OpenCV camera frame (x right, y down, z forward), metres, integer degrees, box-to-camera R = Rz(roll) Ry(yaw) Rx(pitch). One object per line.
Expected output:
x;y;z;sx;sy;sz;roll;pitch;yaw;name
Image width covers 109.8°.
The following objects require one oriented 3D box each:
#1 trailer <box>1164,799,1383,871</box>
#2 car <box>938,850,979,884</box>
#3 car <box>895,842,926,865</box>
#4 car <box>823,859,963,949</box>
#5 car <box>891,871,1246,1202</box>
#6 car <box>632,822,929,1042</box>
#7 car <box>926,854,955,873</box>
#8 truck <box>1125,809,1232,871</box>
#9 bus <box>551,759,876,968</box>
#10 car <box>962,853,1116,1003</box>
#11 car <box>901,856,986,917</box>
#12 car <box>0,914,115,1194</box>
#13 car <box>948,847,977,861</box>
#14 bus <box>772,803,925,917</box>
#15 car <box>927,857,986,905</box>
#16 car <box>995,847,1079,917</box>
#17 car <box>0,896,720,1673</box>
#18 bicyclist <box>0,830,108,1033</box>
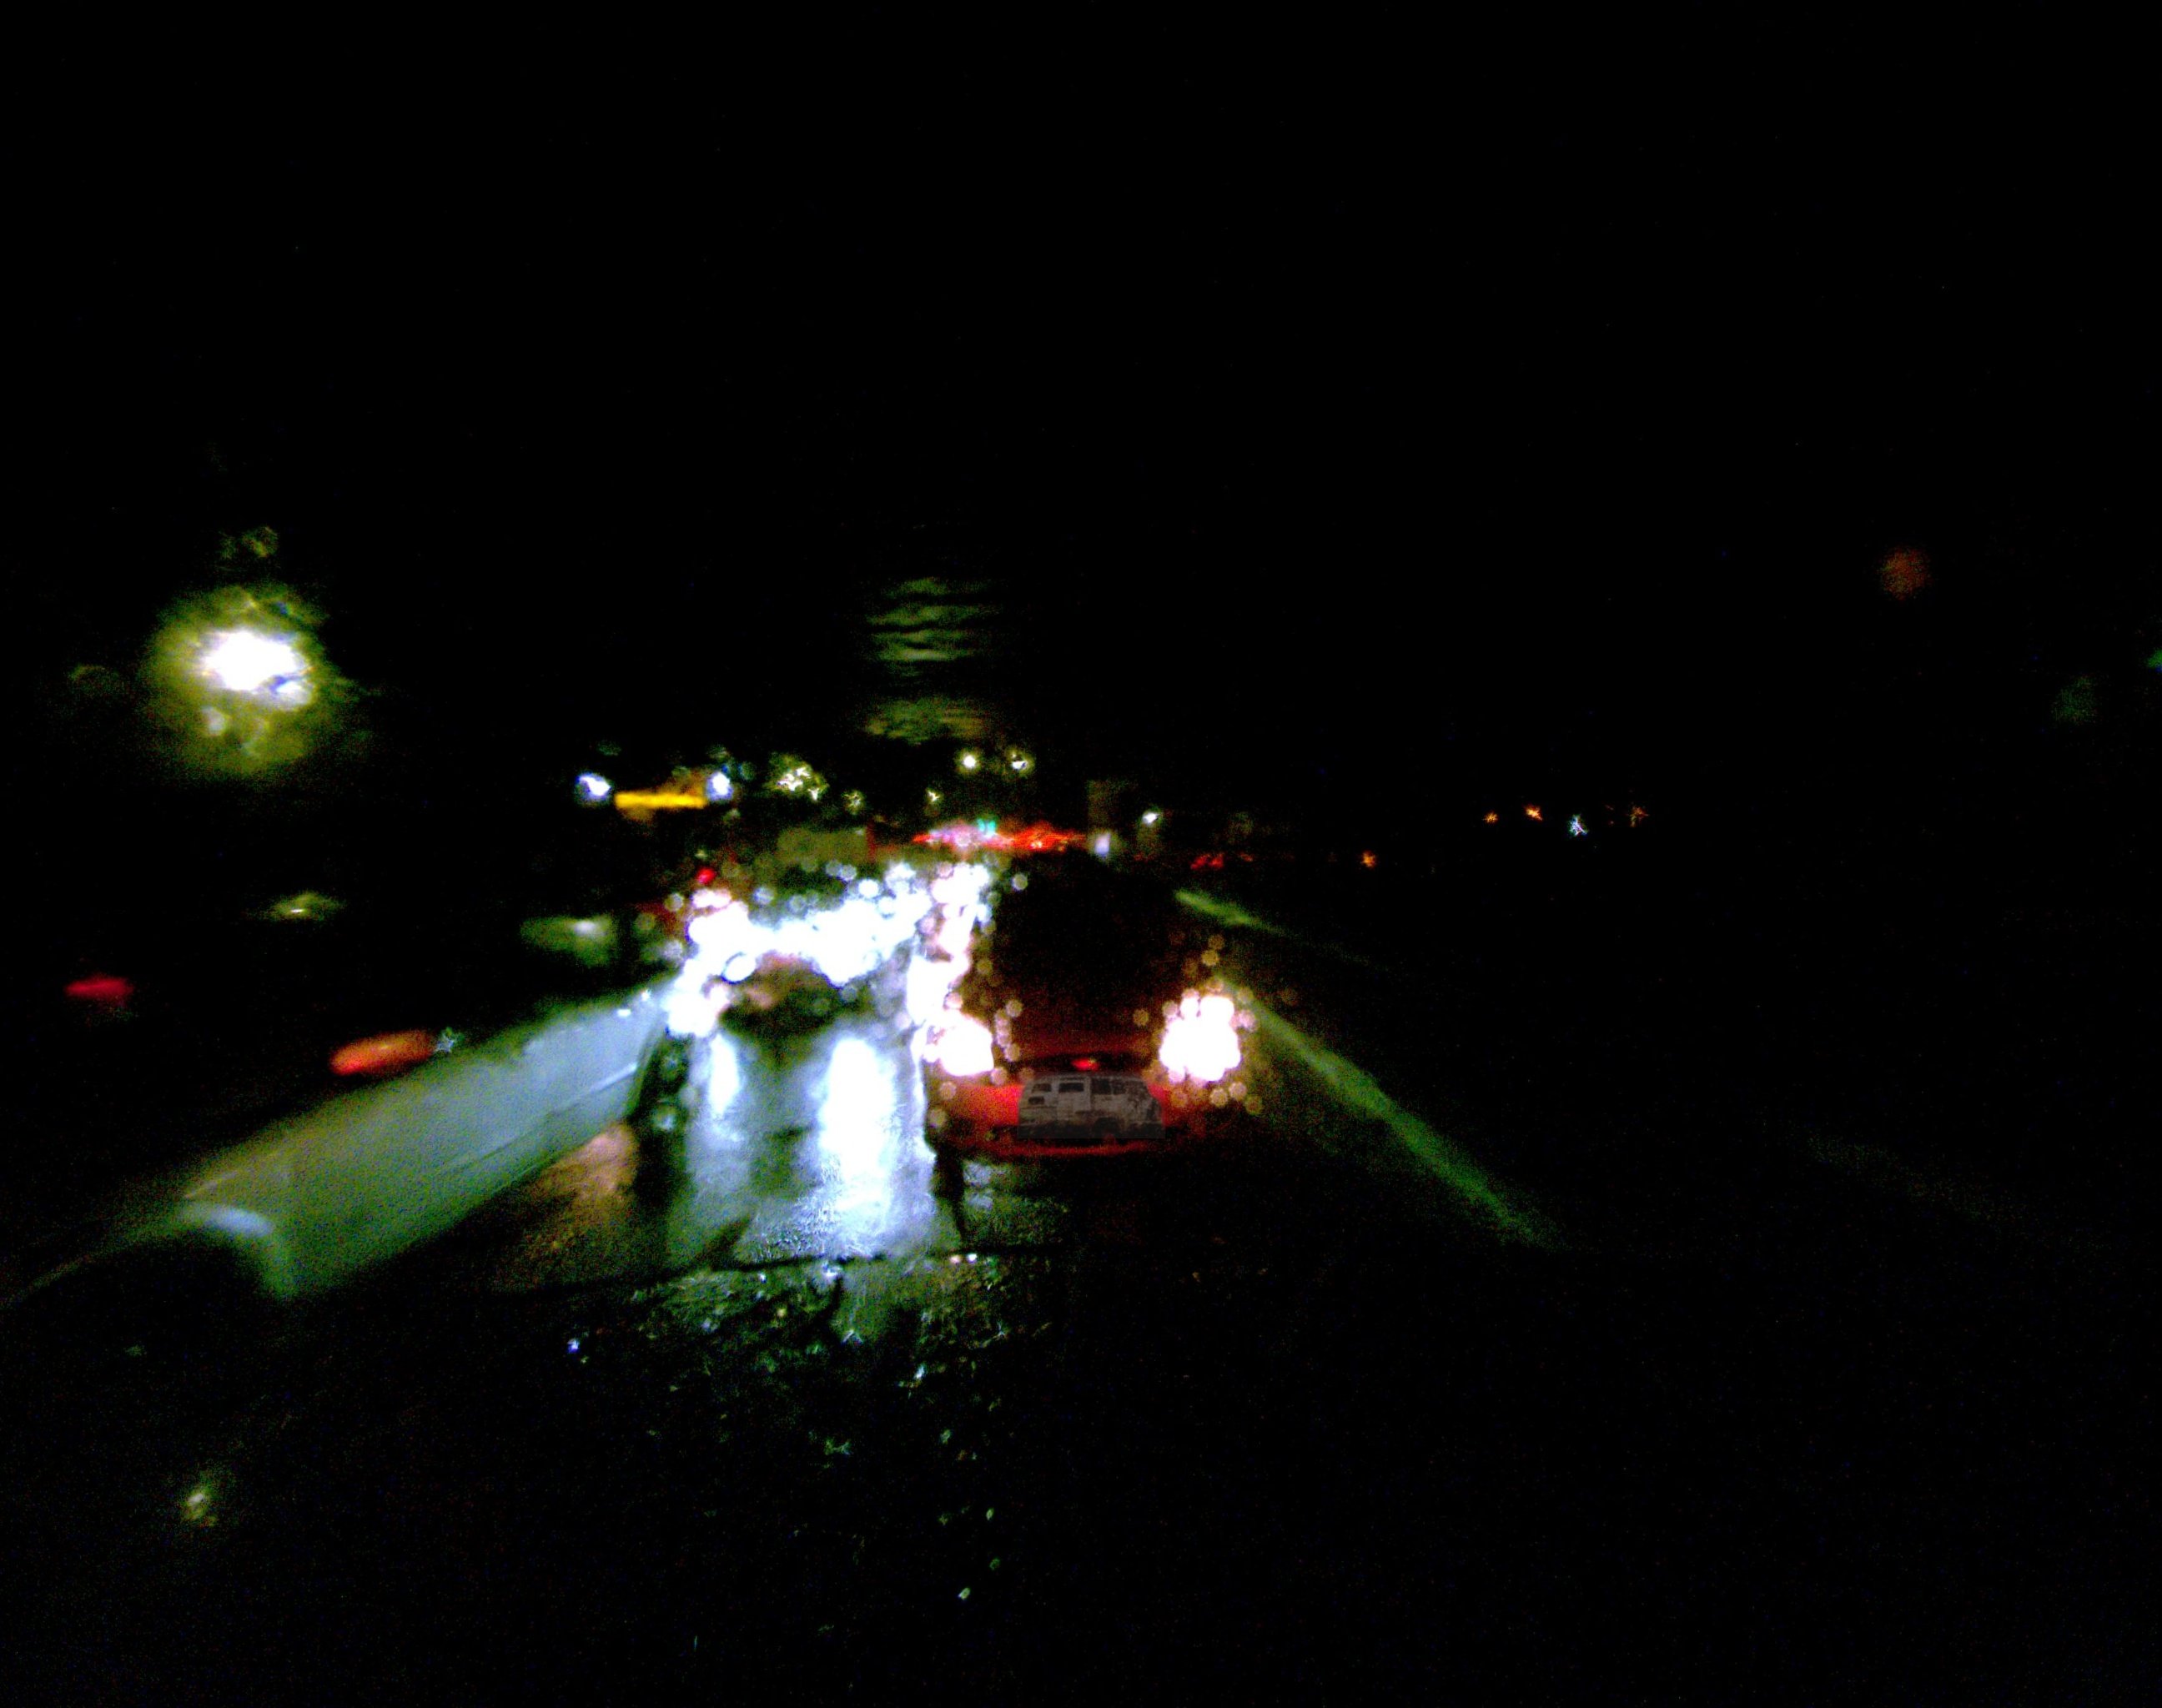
12.981;-1.163;51.833;13.887;4.152;3.975;-2;1;24;trailer
-6.261;0.649;39.276;1.743;1.581;3.998;-2;1;-5;car
-11.491;-0.007;51.499;1.854;1.476;4.625;-1;0;-11;car
-3.724;0.934;15.748;1.869;1.503;3.766;-2;1;1;car
-0.031;0.899;5.516;1.603;1.360;3.942;-2;1;1;car
-3.352;0.740;9.586;1.999;2.076;4.347;-2;1;-1;car
-11.302;0.734;61.014;1.883;1.463;3.994;-2;1;-16;car
6.997;-0.962;54.741;6.359;4.152;3.977;-2;1;40;truck
-6.920;0.146;16.522;2.777;3.105;9.758;-2;0;-4;bus
-0.450;0.842;10.626;1.683;1.591;3.996;-2;1;1;car
-3.903;0.881;22.180;1.629;1.494;3.999;-2;1;1;car
-6.449;1.100;2.523;1.755;1.423;3.758;-2;1;-4;car
-15.280;0.021;97.698;2.003;1.596;3.990;-3;1;-35;car
-7.540;0.183;26.273;2.777;3.105;9.758;-2;0;-4;bus
-4.362;0.896;27.189;1.683;1.463;3.998;-2;1;-4;car
-1.093;0.636;19.711;1.881;1.534;3.999;-2;1;-2;car
-3.170;1.026;2.689;1.792;1.359;3.999;-2;2;0;car
-9.785;0.683;6.832;0.798;1.752;0.901;-2;1;1;bicyclist
